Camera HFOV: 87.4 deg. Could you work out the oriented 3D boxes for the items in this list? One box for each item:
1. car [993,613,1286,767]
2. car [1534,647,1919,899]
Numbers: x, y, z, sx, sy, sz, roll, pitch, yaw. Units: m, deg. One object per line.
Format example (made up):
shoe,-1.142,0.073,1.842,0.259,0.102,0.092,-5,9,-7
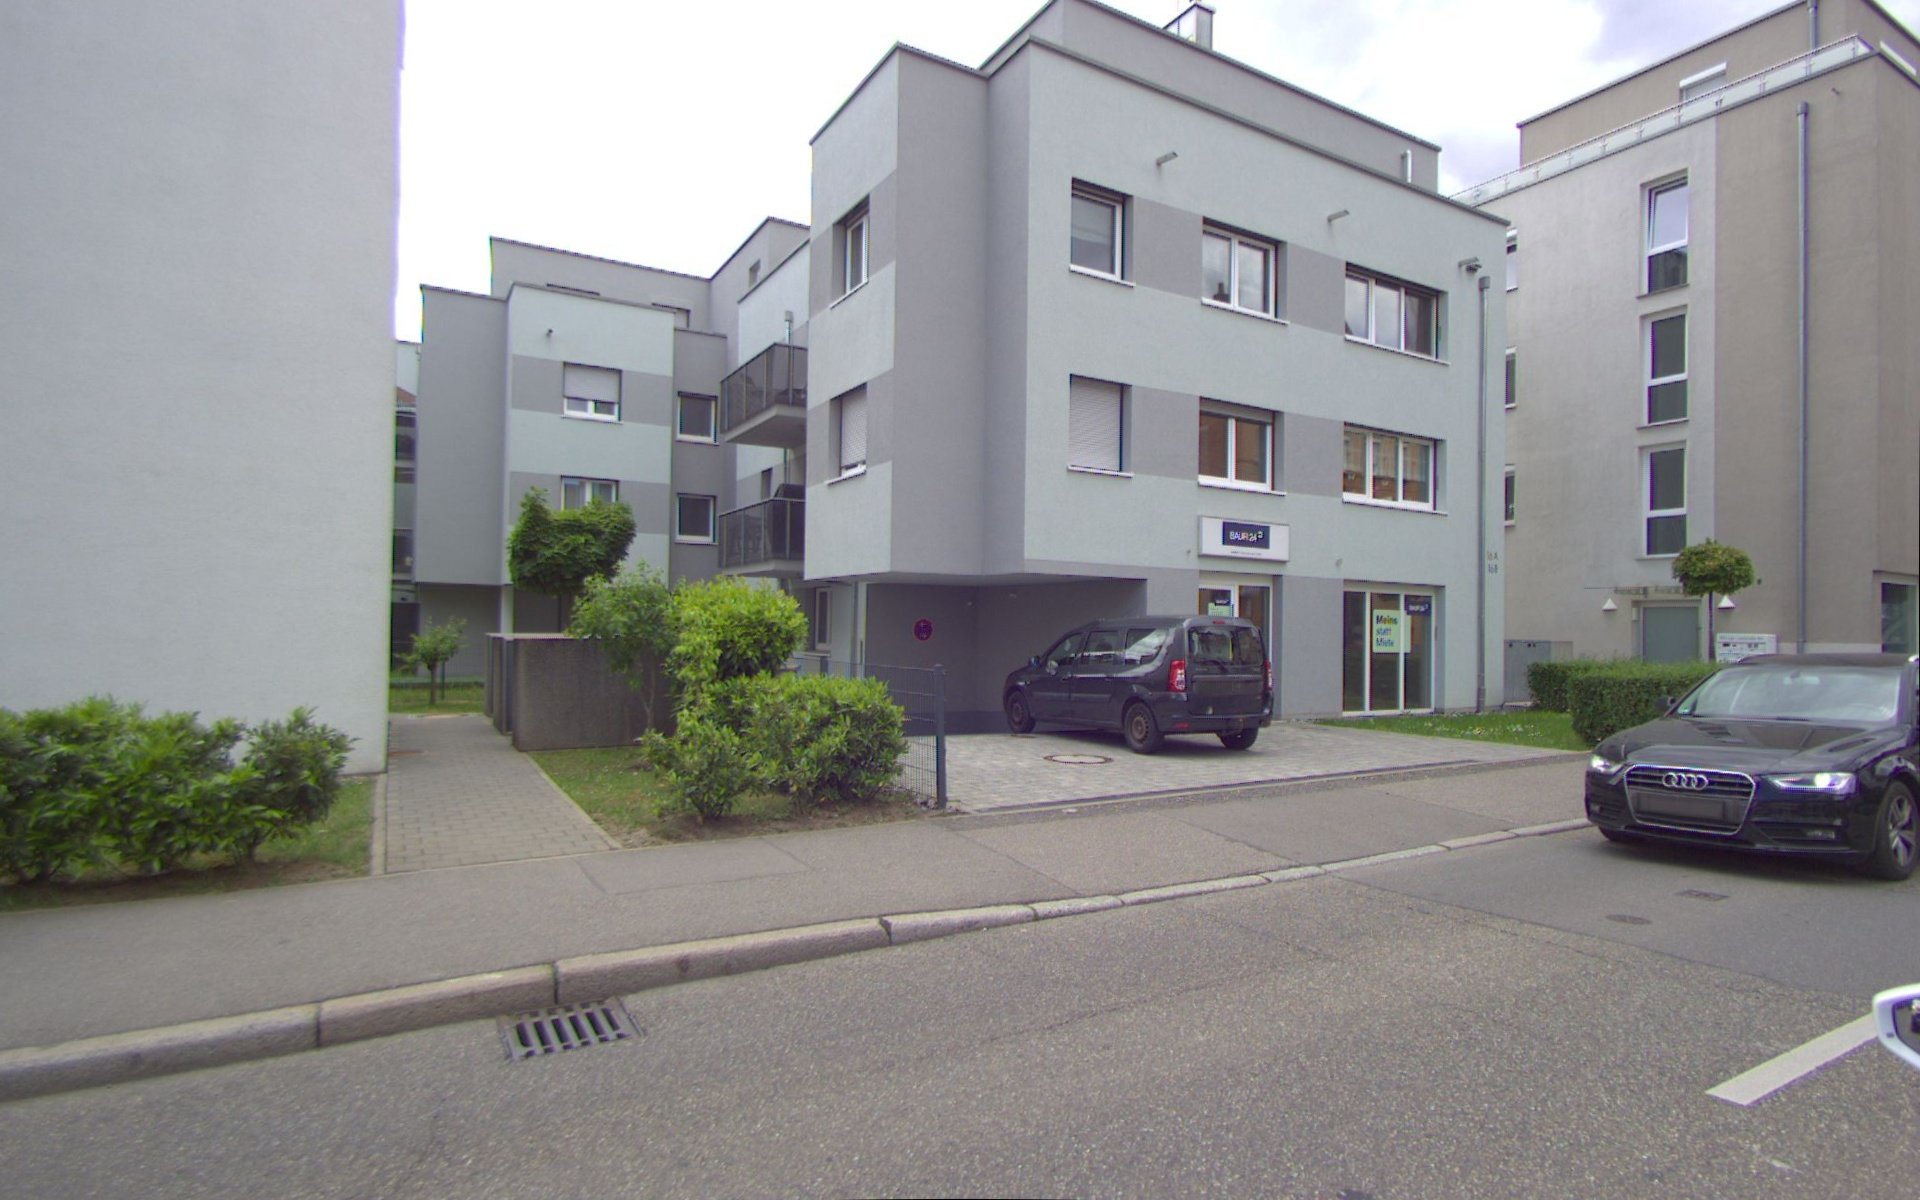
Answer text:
car,2.164,1.053,13.288,1.702,1.689,4.150,2,-2,-26
car,6.595,1.116,7.820,4.165,1.469,1.870,1,-4,-31
